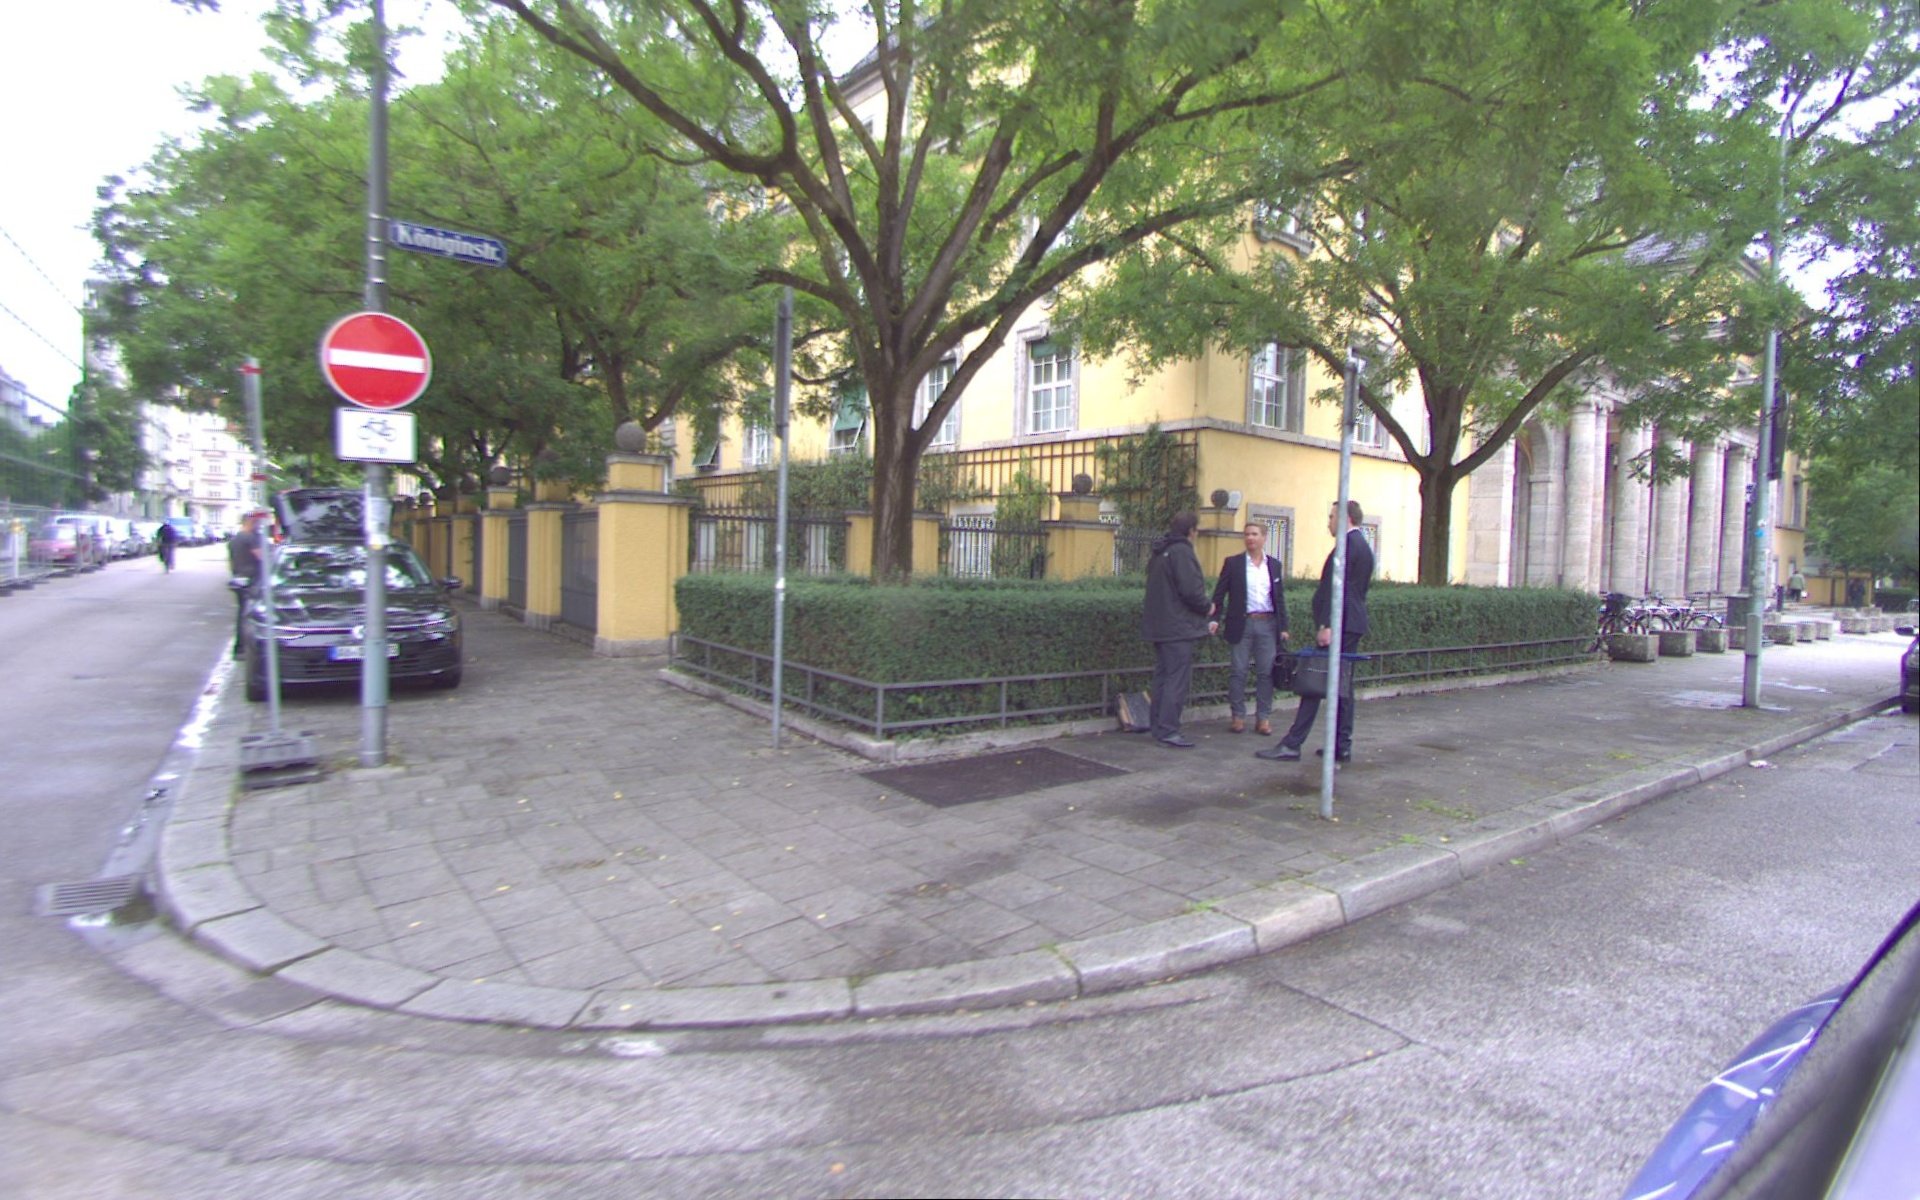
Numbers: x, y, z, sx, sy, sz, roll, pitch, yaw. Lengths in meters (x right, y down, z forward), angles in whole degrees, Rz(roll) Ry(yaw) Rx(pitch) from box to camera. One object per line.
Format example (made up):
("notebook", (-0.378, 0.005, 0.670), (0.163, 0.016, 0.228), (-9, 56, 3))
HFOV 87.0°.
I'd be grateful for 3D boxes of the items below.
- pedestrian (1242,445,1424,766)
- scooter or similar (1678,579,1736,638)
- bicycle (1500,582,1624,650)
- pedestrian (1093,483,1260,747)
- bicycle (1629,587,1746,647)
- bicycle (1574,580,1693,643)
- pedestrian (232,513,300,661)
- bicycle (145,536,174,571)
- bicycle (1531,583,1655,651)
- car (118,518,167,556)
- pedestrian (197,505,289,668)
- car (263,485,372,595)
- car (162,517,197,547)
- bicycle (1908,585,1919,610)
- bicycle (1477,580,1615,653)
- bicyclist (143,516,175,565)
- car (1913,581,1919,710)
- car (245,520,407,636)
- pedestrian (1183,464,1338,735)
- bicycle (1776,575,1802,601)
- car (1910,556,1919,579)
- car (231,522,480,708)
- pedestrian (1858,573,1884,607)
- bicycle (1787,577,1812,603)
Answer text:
("pedestrian", (2.740, 0.016, 7.431), (1.037, 2.160, 0.744), (0, 3, -40))
("scooter or similar", (16.670, 0.178, 22.613), (0.528, 1.237, 1.011), (3, 3, 5))
("bicycle", (11.402, 0.281, 19.231), (0.462, 1.127, 1.938), (0, 4, -37))
("pedestrian", (1.656, 0.098, 7.895), (1.035, 1.930, 0.746), (2, 2, -3))
("bicycle", (15.666, 0.333, 21.837), (0.463, 1.127, 1.936), (0, 4, -41))
("bicycle", (13.795, 0.212, 20.791), (0.462, 1.127, 1.938), (0, 4, -36))
("pedestrian", (-8.633, -0.177, 12.592), (0.559, 1.773, 0.581), (4, 4, 41))
("bicycle", (-27.002, -1.564, 34.138), (0.749, 1.156, 2.260), (-1, 2, -38))
("bicycle", (12.166, 0.299, 19.516), (0.462, 1.127, 1.938), (0, 4, -36))
("car", (-51.303, -3.902, 63.592), (1.962, 2.143, 4.525), (-1, 1, -34))
("pedestrian", (-8.386, -0.174, 11.844), (0.667, 1.831, 0.677), (4, 3, 32))
("car", (-16.487, -1.526, 25.964), (2.112, 2.491, 5.701), (-1, 4, -33))
("car", (-63.061, -5.480, 81.821), (1.962, 2.143, 4.525), (-1, 1, -34))
("bicycle", (46.439, -0.002, 47.833), (2.257, 1.107, 0.593), (10, 8, 40))
("bicycle", (10.439, 0.266, 18.092), (0.463, 1.127, 2.036), (0, 4, -41))
("bicyclist", (-27.014, -2.000, 34.144), (0.796, 1.595, 0.977), (0, 1, -37))
("car", (13.661, 0.531, 12.930), (4.888, 1.509, 1.774), (0, 0, -42))
("car", (-9.596, -0.408, 15.319), (1.833, 1.504, 4.009), (-1, 3, -33))
("pedestrian", (2.579, -0.028, 8.680), (1.037, 2.160, 0.744), (0, 3, -40))
("bicycle", (43.175, -0.626, 52.696), (2.223, 1.323, 0.601), (0, 3, -40))
("car", (73.397, -2.284, 74.412), (1.932, 1.702, 4.906), (-1, 4, -41))
("car", (-6.291, -0.003, 10.439), (1.833, 1.504, 4.222), (-1, 3, -34))
("pedestrian", (48.834, -0.535, 54.258), (1.037, 1.767, 0.790), (0, 3, -40))
("bicycle", (44.953, -0.526, 54.179), (2.126, 1.323, 0.601), (0, 3, -40))
